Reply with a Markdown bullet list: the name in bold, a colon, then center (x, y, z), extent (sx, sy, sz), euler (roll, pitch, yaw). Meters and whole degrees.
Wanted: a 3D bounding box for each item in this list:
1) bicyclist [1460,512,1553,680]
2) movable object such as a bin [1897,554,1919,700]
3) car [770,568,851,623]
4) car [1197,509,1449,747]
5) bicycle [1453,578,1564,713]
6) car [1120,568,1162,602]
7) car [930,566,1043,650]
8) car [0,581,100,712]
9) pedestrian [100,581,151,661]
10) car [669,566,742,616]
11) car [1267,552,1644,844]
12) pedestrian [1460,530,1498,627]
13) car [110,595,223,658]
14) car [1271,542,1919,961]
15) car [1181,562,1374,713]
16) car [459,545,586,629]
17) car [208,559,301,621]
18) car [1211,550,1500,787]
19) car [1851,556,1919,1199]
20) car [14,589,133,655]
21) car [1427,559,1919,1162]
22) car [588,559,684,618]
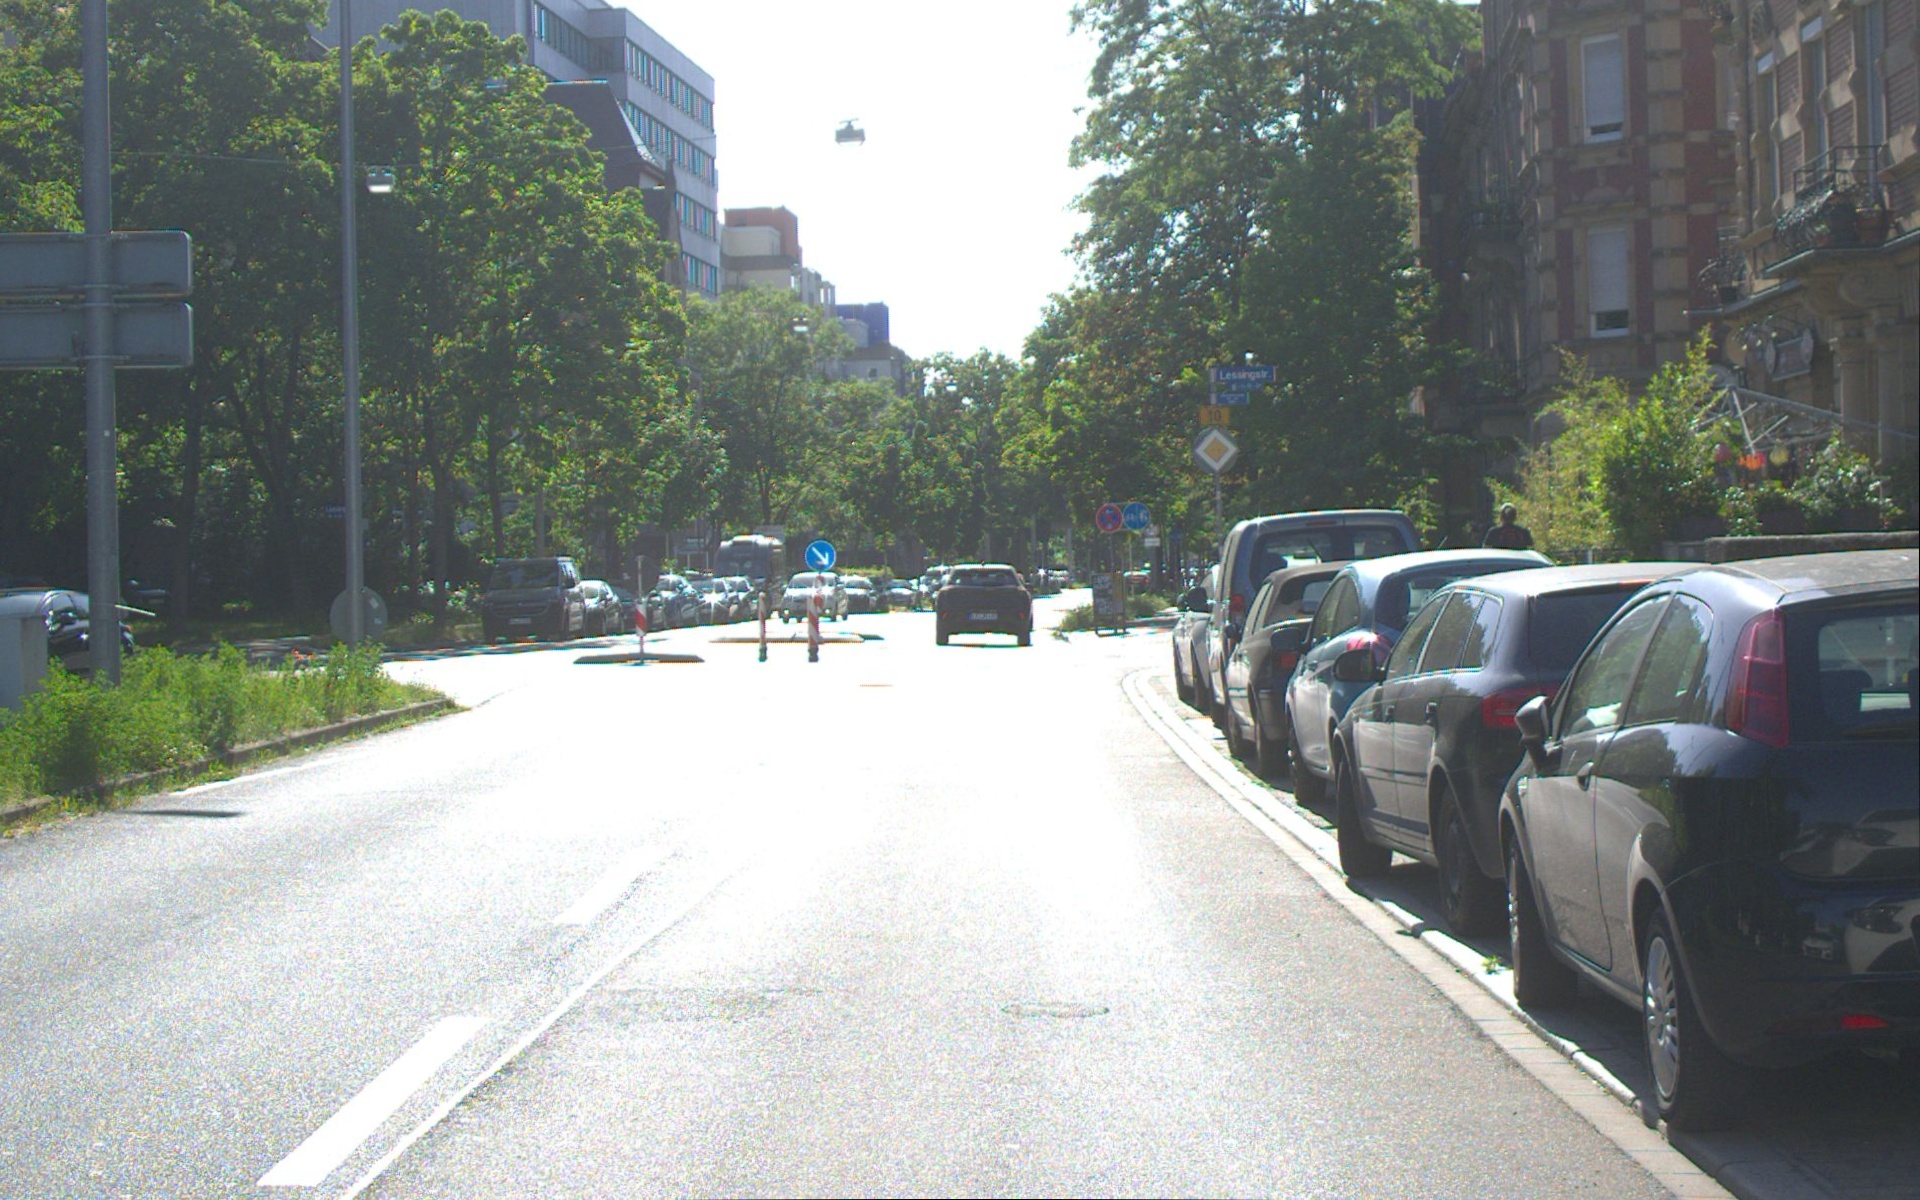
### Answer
- **bicyclist**: center (5.211, -0.051, 32.816), extent (0.741, 1.575, 1.100), euler (0, 2, 2)
- **movable object such as a bin**: center (7.983, 0.224, 27.646), extent (0.722, 1.153, 0.608), euler (0, -2, 2)
- **car**: center (-4.480, -0.151, 103.492), extent (1.759, 1.514, 3.858), euler (-2, 1, 8)
- **car**: center (3.016, 0.185, 29.316), extent (1.819, 1.837, 4.364), euler (-2, 1, 2)
- **bicycle**: center (5.233, 0.418, 32.905), extent (0.741, 1.215, 1.960), euler (-3, 0, 2)
- **car**: center (9.264, -0.787, 175.717), extent (1.921, 1.634, 3.999), euler (-1, 1, 6)
- **car**: center (0.465, 0.135, 65.211), extent (1.894, 1.514, 4.000), euler (1, 0, -3)
- **car**: center (-12.109, 0.540, 42.786), extent (1.795, 1.514, 4.424), euler (0, 1, -1)
- **pedestrian**: center (-17.109, 0.434, 70.481), extent (0.669, 1.621, 0.714), euler (-1, 1, 34)
- **car**: center (-7.694, -0.276, 104.160), extent (1.524, 1.427, 3.336), euler (-1, 1, 8)
- **car**: center (2.766, 0.494, 19.802), extent (1.621, 1.465, 3.299), euler (-2, 1, -1)
- **pedestrian**: center (9.823, -0.407, 65.120), extent (0.656, 1.810, 0.751), euler (0, -2, 5)
- **car**: center (-21.919, 0.708, 94.873), extent (1.975, 1.656, 4.000), euler (-2, 1, -29)
- **car**: center (2.599, 0.530, 15.087), extent (1.935, 1.514, 4.484), euler (-2, 1, -1)
- **car**: center (3.142, 0.335, 34.707), extent (1.709, 1.420, 4.205), euler (0, 1, 2)
- **car**: center (-10.509, -0.340, 82.950), extent (2.199, 1.923, 4.862), euler (-1, 1, 3)
- **car**: center (-19.808, -0.297, 96.378), extent (1.974, 1.656, 4.001), euler (-1, 1, -20)
- **car**: center (2.681, 0.407, 24.072), extent (1.668, 1.463, 4.274), euler (-2, 1, 2)
- **car**: center (2.801, 0.672, 5.342), extent (1.668, 1.514, 3.662), euler (-2, 1, -3)
- **car**: center (-23.591, 0.574, 91.408), extent (1.975, 1.656, 4.000), euler (-2, 1, -31)
- **car**: center (2.525, 0.605, 10.164), extent (1.668, 1.389, 3.775), euler (-2, 1, -1)
- **car**: center (-8.837, -0.333, 93.917), extent (1.759, 1.514, 3.858), euler (-1, 1, 8)
